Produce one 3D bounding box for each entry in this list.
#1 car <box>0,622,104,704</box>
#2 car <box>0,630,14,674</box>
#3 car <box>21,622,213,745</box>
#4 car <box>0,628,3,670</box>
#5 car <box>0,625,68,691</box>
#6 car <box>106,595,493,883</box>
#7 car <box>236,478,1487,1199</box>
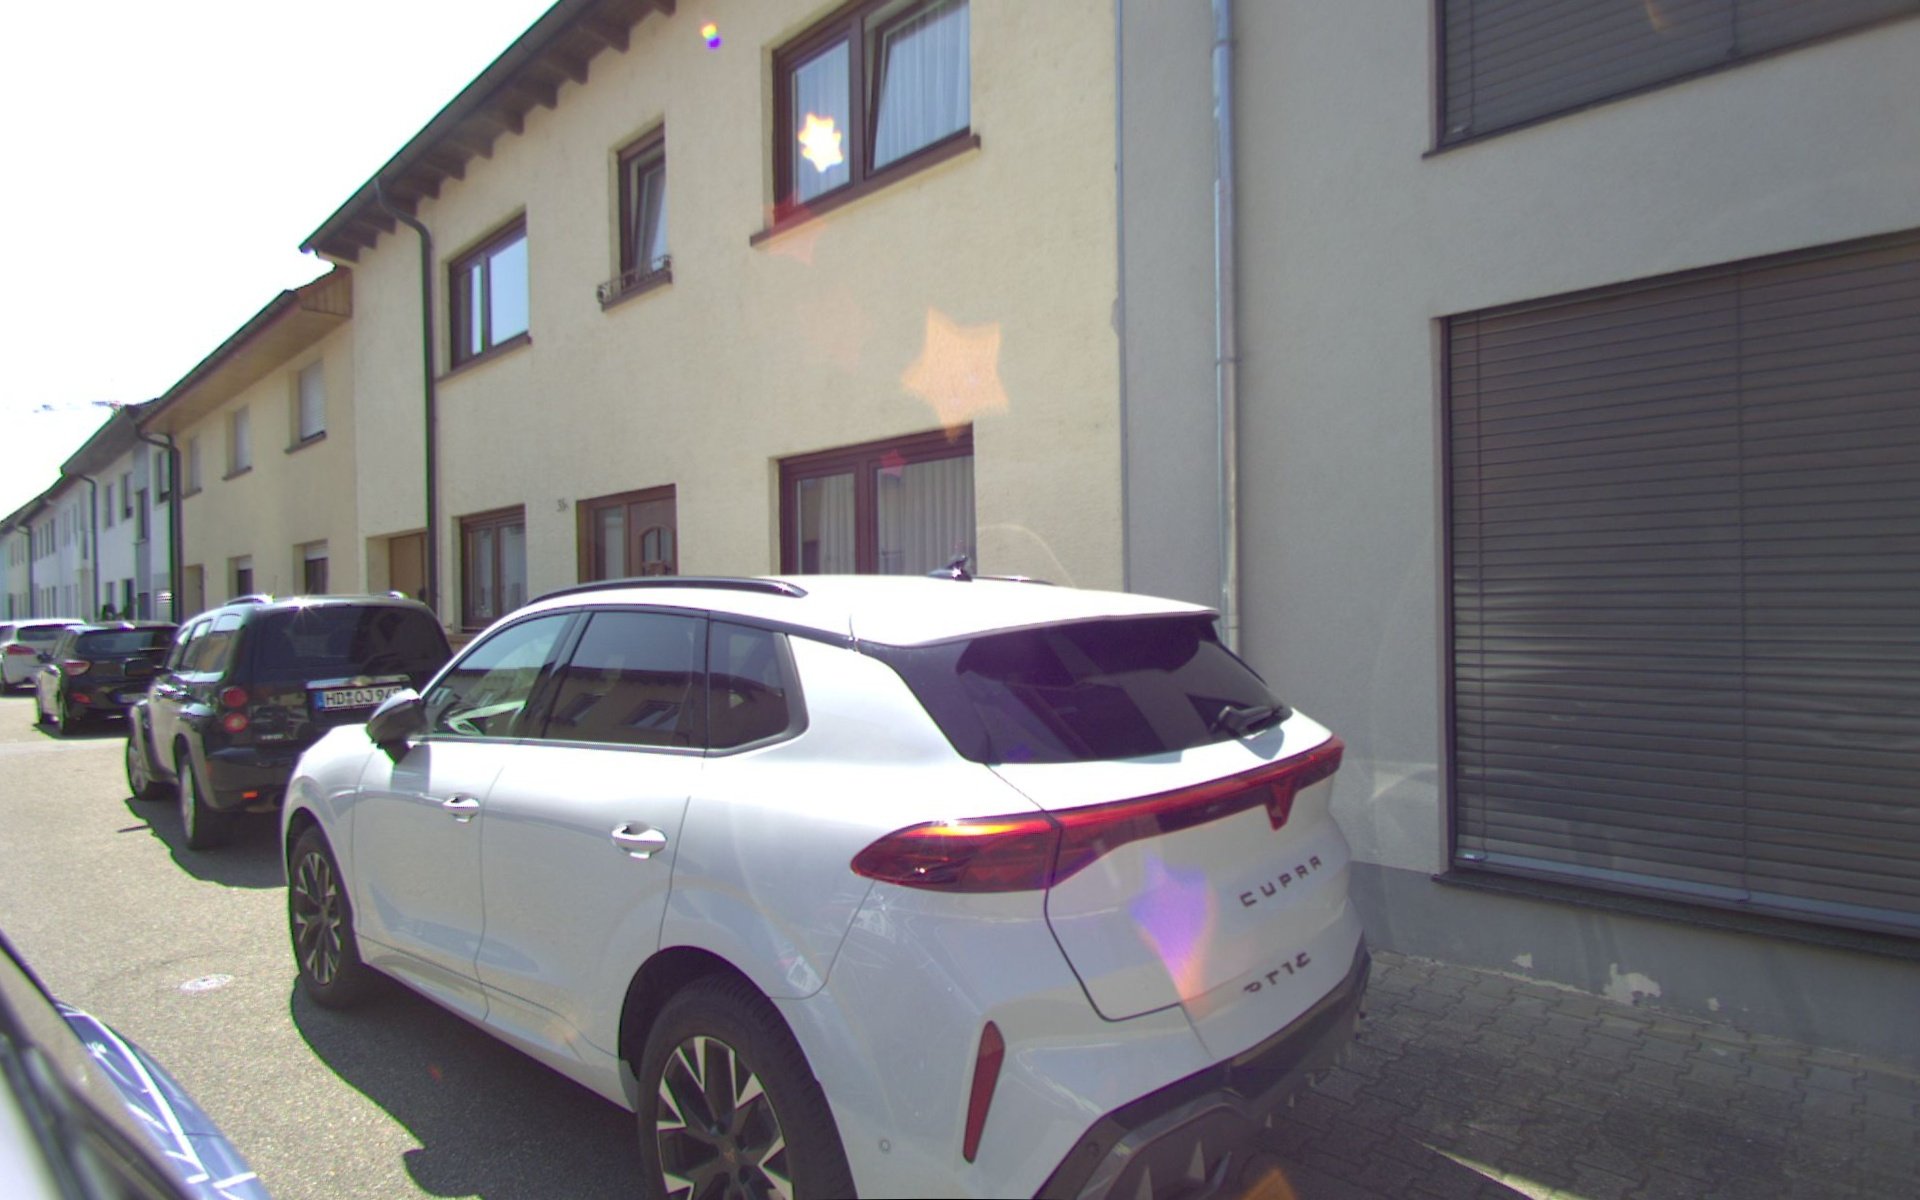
[{"bbox_3d":[-20.533,1.324,22.510,3.940,1.560,1.646,-1,2,41],"label":"car"},{"bbox_3d":[-33.708,1.787,34.796,3.215,1.454,1.584,-2,-2,44],"label":"car"},{"bbox_3d":[-12.378,1.101,14.780,3.941,1.549,1.622,-1,-2,42],"label":"car"},{"bbox_3d":[-37.158,1.845,38.195,3.026,1.540,1.395,-1,-2,45],"label":"car"},{"bbox_3d":[-24.471,1.456,26.124,3.686,1.553,1.646,-1,0,41],"label":"car"},{"bbox_3d":[-5.213,0.825,7.755,1.702,1.627,3.991,1,-2,-45],"label":"car"},{"bbox_3d":[-0.817,0.693,3.454,4.347,1.627,1.755,-1,-1,41],"label":"car"}]
